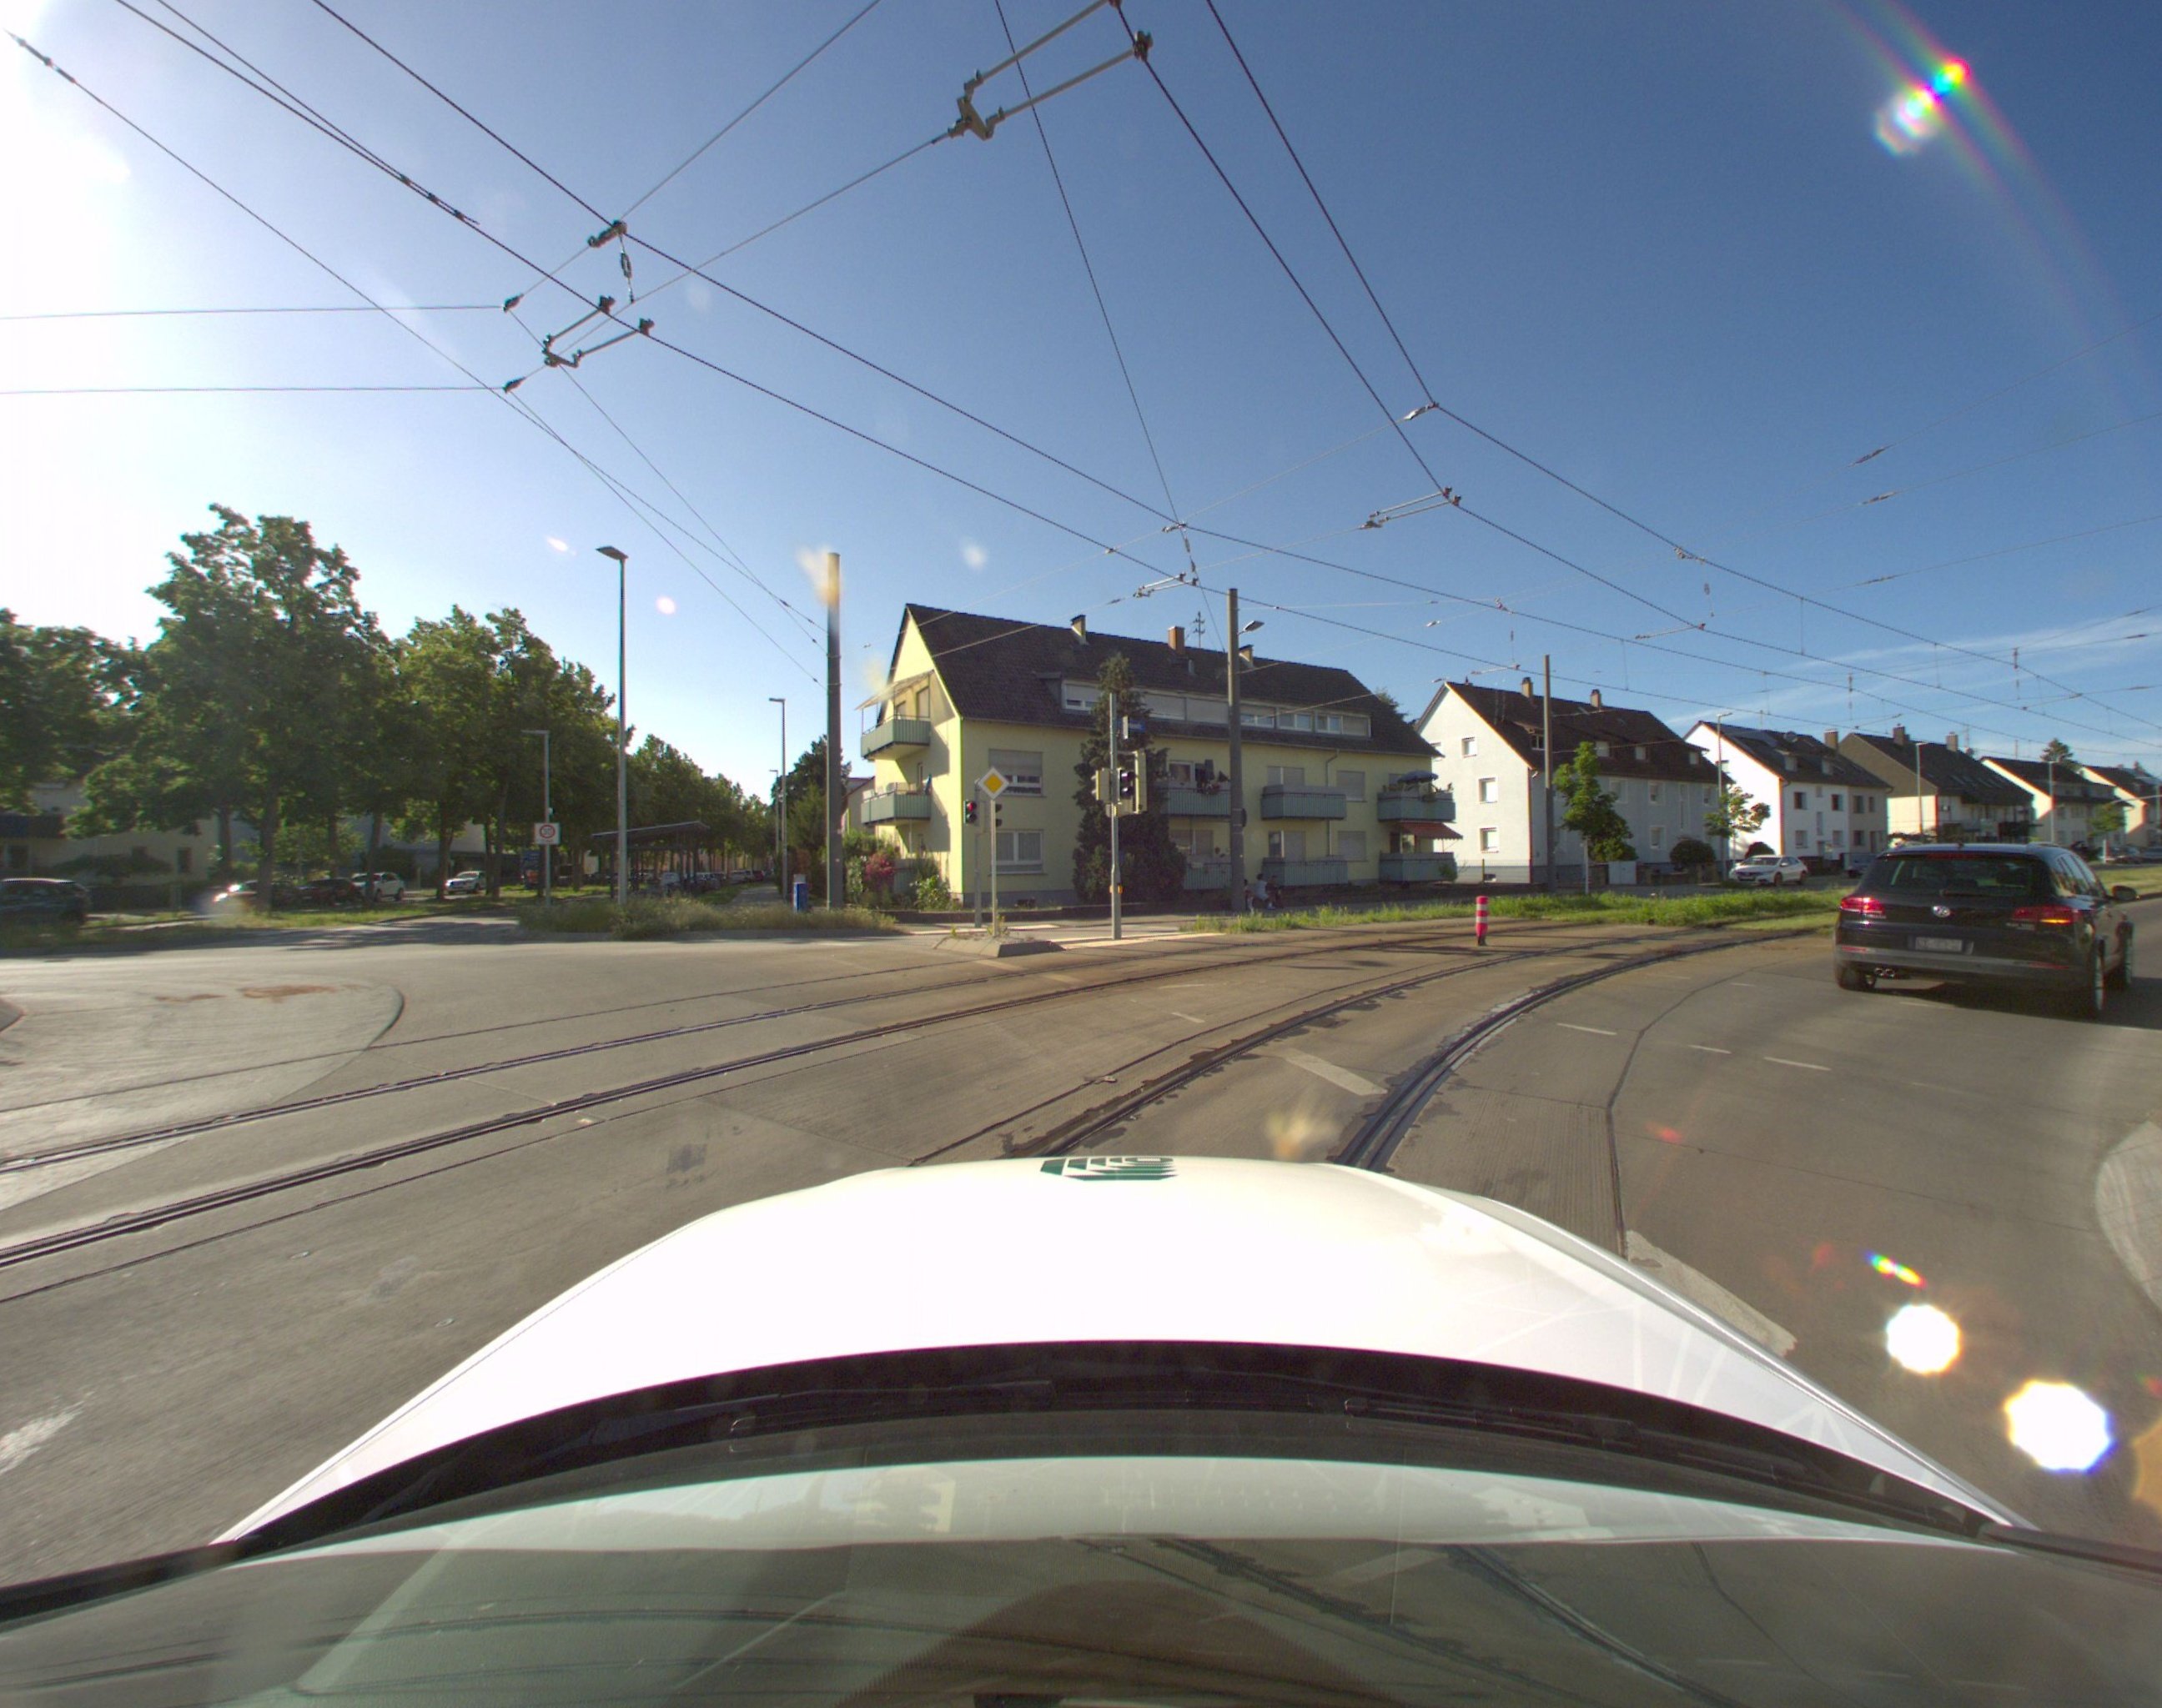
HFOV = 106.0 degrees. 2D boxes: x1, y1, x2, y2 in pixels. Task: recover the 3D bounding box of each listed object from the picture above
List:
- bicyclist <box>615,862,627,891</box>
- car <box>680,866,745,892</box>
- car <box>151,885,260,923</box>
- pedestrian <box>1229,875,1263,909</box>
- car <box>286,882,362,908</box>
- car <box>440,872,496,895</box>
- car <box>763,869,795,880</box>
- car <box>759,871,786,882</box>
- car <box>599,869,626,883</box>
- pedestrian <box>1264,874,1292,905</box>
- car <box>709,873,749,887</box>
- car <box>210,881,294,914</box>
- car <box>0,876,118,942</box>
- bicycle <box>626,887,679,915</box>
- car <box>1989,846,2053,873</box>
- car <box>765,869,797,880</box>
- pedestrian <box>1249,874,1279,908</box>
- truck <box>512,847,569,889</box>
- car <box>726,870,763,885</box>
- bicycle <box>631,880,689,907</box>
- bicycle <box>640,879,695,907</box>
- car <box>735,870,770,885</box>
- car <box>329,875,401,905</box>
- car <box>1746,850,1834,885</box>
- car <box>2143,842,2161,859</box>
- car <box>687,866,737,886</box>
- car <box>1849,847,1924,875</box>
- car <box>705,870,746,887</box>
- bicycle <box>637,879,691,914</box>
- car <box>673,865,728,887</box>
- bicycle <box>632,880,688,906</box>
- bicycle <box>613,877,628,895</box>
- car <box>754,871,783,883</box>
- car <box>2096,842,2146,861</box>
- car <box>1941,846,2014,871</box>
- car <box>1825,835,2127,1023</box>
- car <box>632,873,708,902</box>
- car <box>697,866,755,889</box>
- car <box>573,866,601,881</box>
[{"bbox_3d":[-28.310,1.379,50.150,0.606,1.714,0.539,-1,-5,-30],"label":"bicyclist"},{"bbox_3d":[-22.430,1.533,49.716,3.530,1.533,1.566,1,-2,-22],"label":"car"},{"bbox_3d":[-34.755,1.940,32.464,1.603,1.365,3.965,1,-2,-26],"label":"car"},{"bbox_3d":[5.207,1.178,25.768,0.690,1.046,0.812,0,-1,-31],"label":"pedestrian"},{"bbox_3d":[-41.747,2.253,45.045,1.971,1.324,3.965,1,-2,-26],"label":"car"},{"bbox_3d":[-48.858,2.298,65.004,1.999,1.773,5.028,1,-1,-18],"label":"car"},{"bbox_3d":[-36.148,2.458,97.536,3.531,1.279,1.565,1,-2,-23],"label":"car"},{"bbox_3d":[-44.038,3.177,116.365,3.531,1.533,1.565,1,-2,-23],"label":"car"},{"bbox_3d":[-58.739,2.744,102.256,1.998,1.700,4.193,1,-1,-17],"label":"car"},{"bbox_3d":[6.466,1.169,26.743,0.715,1.006,0.599,-1,-2,37],"label":"pedestrian"},{"bbox_3d":[-34.515,2.547,79.840,3.450,1.394,1.230,1,-2,-18],"label":"car"},{"bbox_3d":[-39.822,2.061,39.210,1.810,1.465,3.765,1,-2,-30],"label":"car"},{"bbox_3d":[-27.534,1.364,20.751,1.837,1.581,4.411,1,-1,-20],"label":"car"},{"bbox_3d":[-15.849,1.731,30.181,1.698,1.028,0.594,1,-2,-26],"label":"bicycle"},{"bbox_3d":[52.428,0.290,45.426,3.668,1.412,1.541,-1,-1,-28],"label":"car"},{"bbox_3d":[-35.967,2.468,97.622,3.531,1.296,1.565,1,-2,-23],"label":"car"},{"bbox_3d":[5.903,1.178,26.287,0.809,1.065,0.630,0,-2,28],"label":"pedestrian"},{"bbox_3d":[-54.181,1.431,81.861,3.082,3.993,7.948,1,-1,-22],"label":"truck"},{"bbox_3d":[-34.301,2.388,83.023,3.373,1.533,1.511,1,-2,-23],"label":"car"},{"bbox_3d":[-16.737,1.551,32.415,1.983,1.028,0.690,1,-2,-26],"label":"bicycle"},{"bbox_3d":[-16.089,1.513,31.730,1.850,1.028,0.683,1,-2,-26],"label":"bicycle"},{"bbox_3d":[-35.390,2.536,87.733,3.493,1.493,1.540,1,-2,-23],"label":"car"},{"bbox_3d":[-43.497,2.141,49.593,2.002,1.700,4.186,1,-2,-22],"label":"car"},{"bbox_3d":[32.956,0.598,37.840,4.224,1.518,1.683,-1,-1,-28],"label":"car"},{"bbox_3d":[97.189,-0.327,73.129,3.726,1.409,1.609,1,-2,-28],"label":"car"},{"bbox_3d":[-29.562,1.746,65.262,3.530,1.533,1.566,1,-2,-22],"label":"car"},{"bbox_3d":[44.740,0.361,45.200,4.176,1.463,1.780,-1,-1,-28],"label":"car"},{"bbox_3d":[-33.592,2.333,77.025,3.421,1.533,1.515,-1,-1,-18],"label":"car"},{"bbox_3d":[-14.943,1.504,29.203,1.674,1.208,0.683,1,-2,-26],"label":"bicycle"},{"bbox_3d":[-27.929,1.621,59.797,3.530,1.533,1.444,1,-2,-22],"label":"car"},{"bbox_3d":[-17.151,1.571,33.262,1.983,1.028,0.683,1,-2,-26],"label":"bicycle"},{"bbox_3d":[-28.350,1.974,50.154,0.771,1.037,1.519,0,-3,-29],"label":"bicycle"},{"bbox_3d":[-40.798,2.963,106.284,3.531,1.533,1.565,1,-2,-23],"label":"car"},{"bbox_3d":[85.793,-0.186,67.167,3.722,1.453,1.611,-1,-1,-24],"label":"car"},{"bbox_3d":[57.257,0.256,52.005,4.889,1.523,1.867,0,0,-26],"label":"car"},{"bbox_3d":[10.183,0.640,9.184,4.276,1.670,1.798,0,1,-36],"label":"car"},{"bbox_3d":[-22.352,1.810,44.461,3.530,1.533,1.566,1,-2,-22],"label":"car"},{"bbox_3d":[-24.089,1.623,55.392,3.530,1.533,1.566,1,-2,-22],"label":"car"},{"bbox_3d":[-56.690,2.252,93.529,2.002,1.700,4.186,1,-2,-22],"label":"car"}]
